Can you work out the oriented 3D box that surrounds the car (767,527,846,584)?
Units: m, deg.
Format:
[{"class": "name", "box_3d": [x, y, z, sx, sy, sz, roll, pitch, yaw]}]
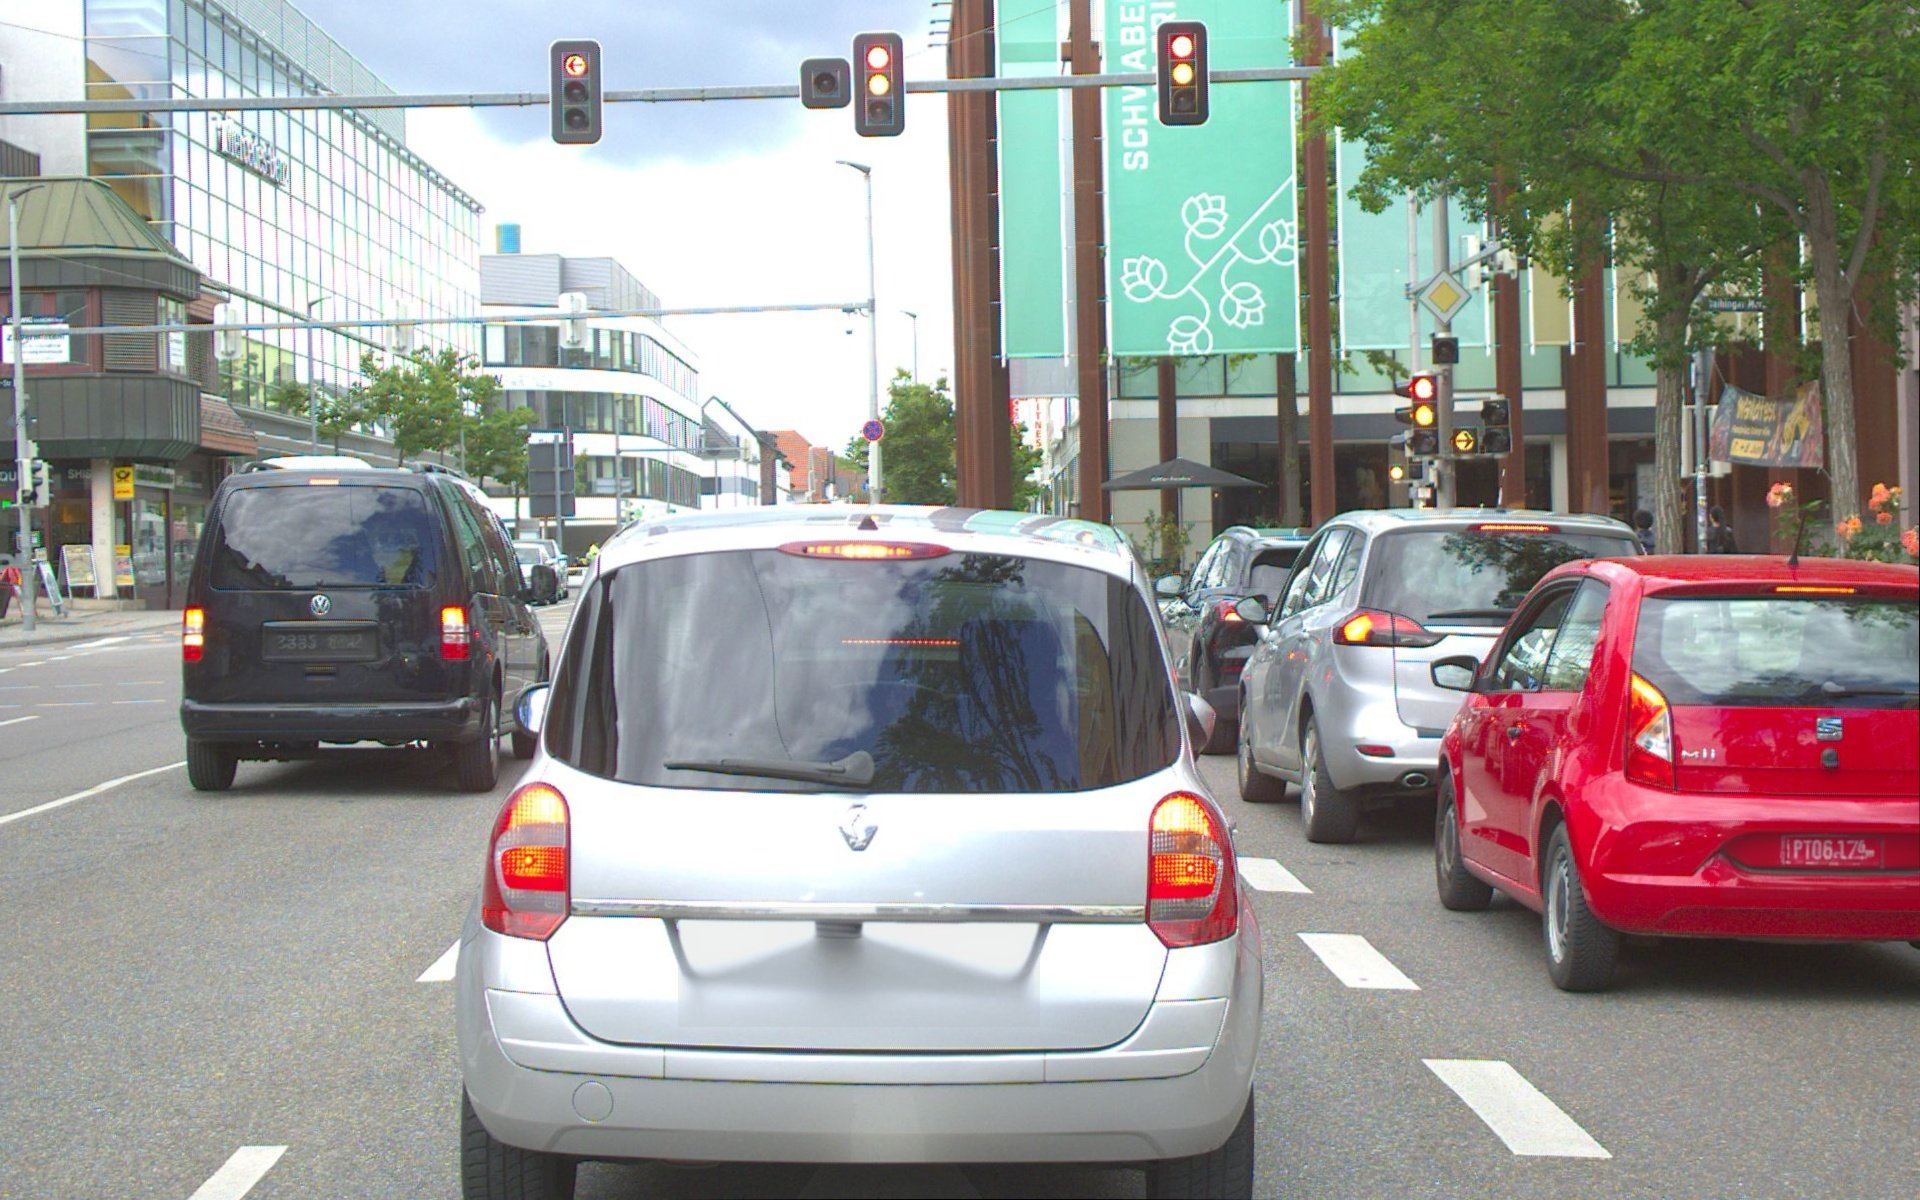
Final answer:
[{"class": "car", "box_3d": [-4.627, -1.359, 104.423, 1.917, 1.671, 4.242, 0, 1, 4]}]

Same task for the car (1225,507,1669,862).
[{"class": "car", "box_3d": [2.424, 0.357, 17.989, 1.586, 1.628, 3.917, 1, 1, -2]}]

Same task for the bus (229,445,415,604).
[{"class": "bus", "box_3d": [-13.839, -1.642, 75.195, 2.686, 3.250, 8.654, -1, 1, -2]}]

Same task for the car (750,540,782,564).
[{"class": "car", "box_3d": [-12.616, -3.118, 223.975, 1.801, 1.535, 4.065, 0, 1, 1]}]

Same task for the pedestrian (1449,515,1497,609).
[{"class": "pedestrian", "box_3d": [9.048, -0.674, 60.632, 0.651, 1.645, 0.559, -1, 1, -15]}]

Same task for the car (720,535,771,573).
[{"class": "car", "box_3d": [-8.888, -1.907, 142.440, 1.801, 1.535, 4.065, 0, 1, 1]}]

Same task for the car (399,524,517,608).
[{"class": "car", "box_3d": [-10.525, -0.738, 72.341, 1.993, 1.700, 4.065, -1, 1, -2]}]

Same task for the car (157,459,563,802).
[{"class": "car", "box_3d": [-3.543, 0.121, 21.084, 1.744, 1.849, 4.634, 1, 1, -1]}]

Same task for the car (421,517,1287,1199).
[{"class": "car", "box_3d": [-0.230, 0.575, 8.248, 1.640, 1.522, 3.394, 0, 1, -1]}]

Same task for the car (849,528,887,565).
[{"class": "car", "box_3d": [-4.888, -2.835, 182.179, 1.993, 1.942, 4.951, -1, 1, -2]}]

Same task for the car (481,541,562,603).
[{"class": "car", "box_3d": [-10.173, -0.657, 79.924, 1.555, 1.387, 3.288, -1, 1, -2]}]

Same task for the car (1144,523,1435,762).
[{"class": "car", "box_3d": [2.334, 0.247, 25.195, 1.586, 1.589, 3.868, 1, 1, -2]}]

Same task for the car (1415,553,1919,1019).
[{"class": "car", "box_3d": [2.713, 0.573, 12.581, 1.586, 1.438, 3.348, 1, 1, -1]}]
